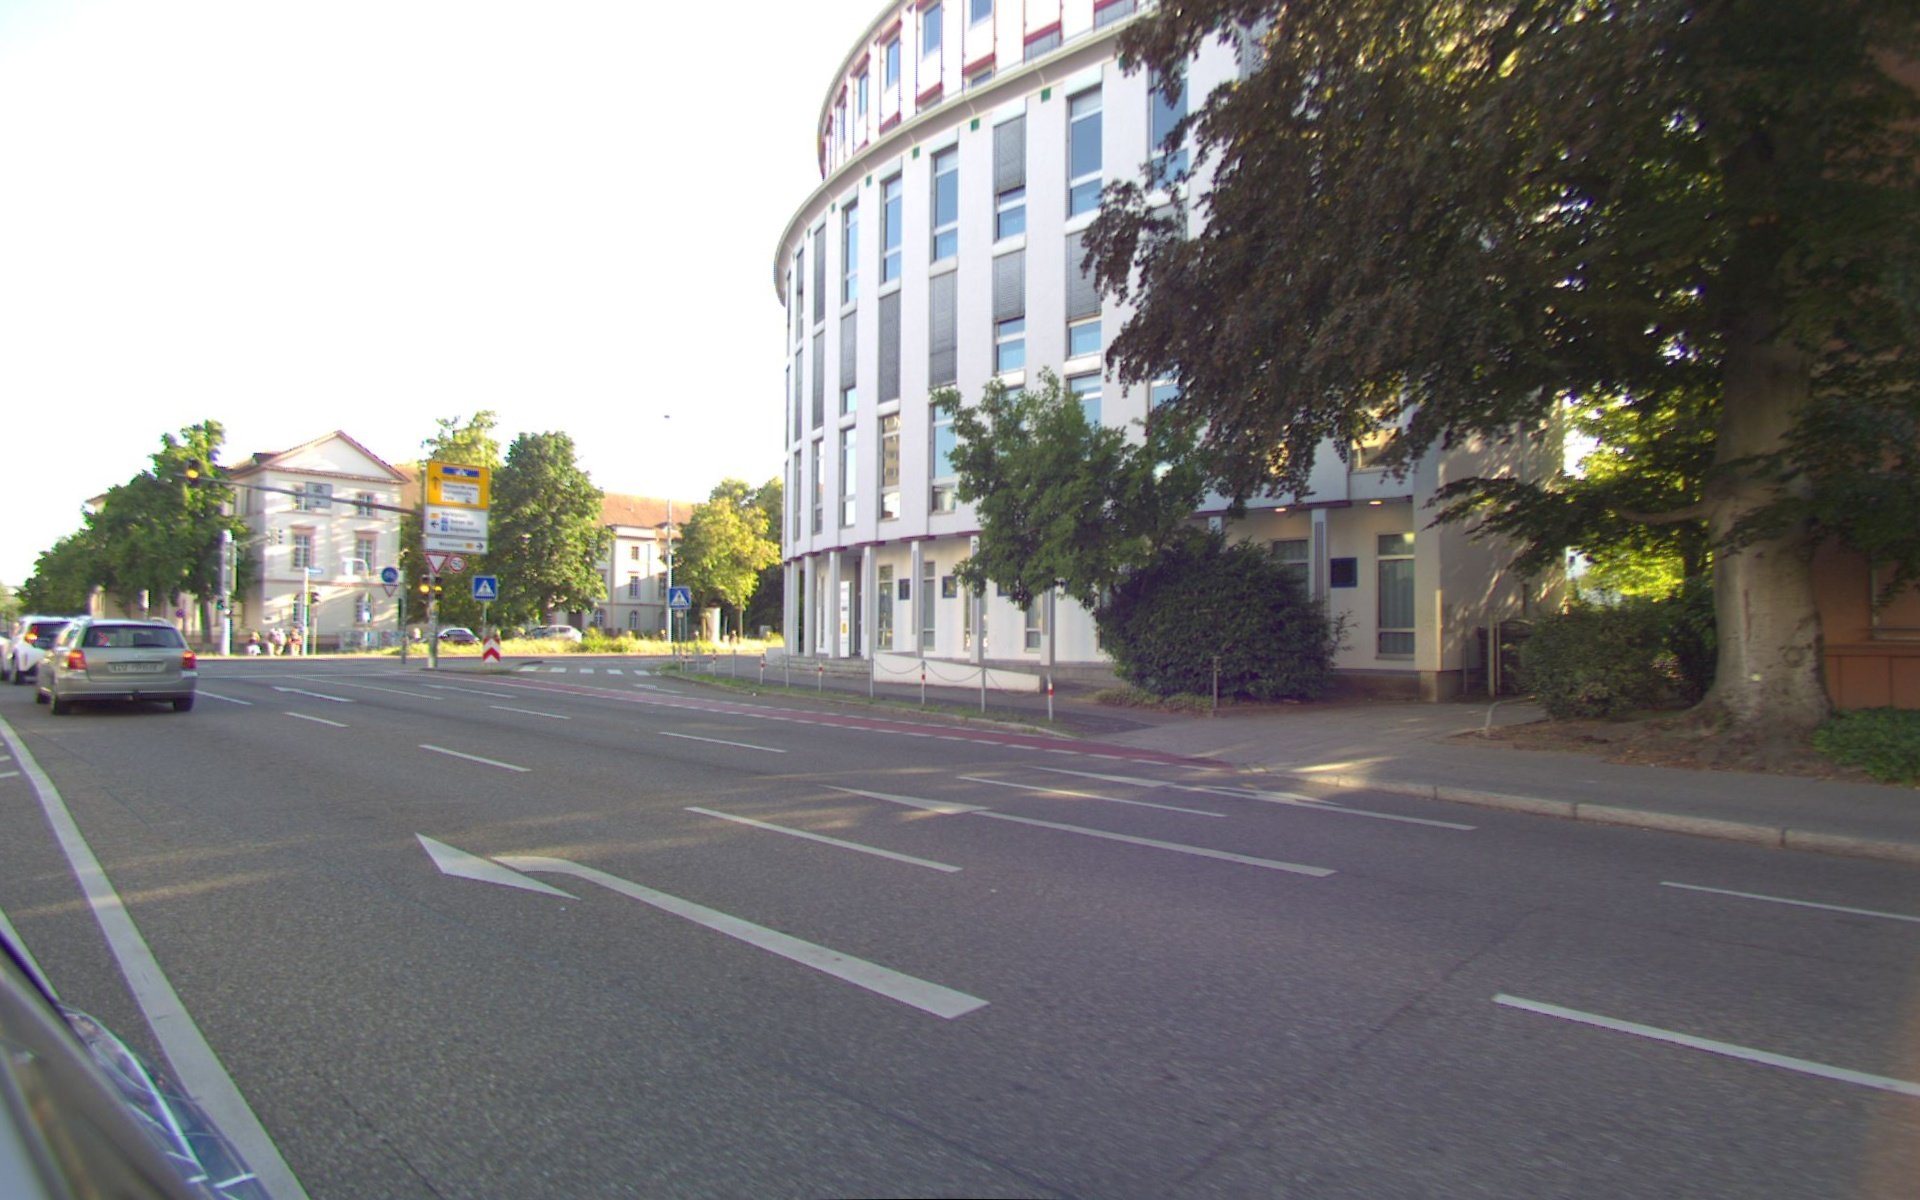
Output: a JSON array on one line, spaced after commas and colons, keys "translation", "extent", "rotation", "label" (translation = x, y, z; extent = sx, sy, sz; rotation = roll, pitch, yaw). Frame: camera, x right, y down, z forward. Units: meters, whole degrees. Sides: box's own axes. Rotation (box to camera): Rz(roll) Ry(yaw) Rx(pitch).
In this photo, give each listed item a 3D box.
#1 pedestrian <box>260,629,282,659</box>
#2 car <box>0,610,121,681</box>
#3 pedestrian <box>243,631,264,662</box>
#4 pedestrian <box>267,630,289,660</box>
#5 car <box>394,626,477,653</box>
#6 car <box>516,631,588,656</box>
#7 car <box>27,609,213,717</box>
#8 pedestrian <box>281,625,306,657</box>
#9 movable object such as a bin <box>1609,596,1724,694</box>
[{"translation": [-40.317, 2.566, 59.194], "extent": [1.081, 1.721, 0.671], "rotation": [-2, -3, 32], "label": "pedestrian"}, {"translation": [-20.614, 1.016, 22.955], "extent": [3.899, 1.472, 1.809], "rotation": [-2, -3, 41], "label": "car"}, {"translation": [-38.622, 2.542, 55.290], "extent": [0.887, 1.663, 0.614], "rotation": [-2, -3, 32], "label": "pedestrian"}, {"translation": [-37.923, 2.507, 56.292], "extent": [0.880, 1.663, 0.671], "rotation": [-2, -3, 32], "label": "pedestrian"}, {"translation": [-28.936, 2.173, 55.914], "extent": [1.996, 1.457, 3.602], "rotation": [-2, -3, 36], "label": "car"}, {"translation": [-24.990, 2.646, 62.036], "extent": [1.996, 1.457, 3.602], "rotation": [-2, -3, 36], "label": "car"}, {"translation": [-13.904, 0.982, 16.652], "extent": [4.605, 1.526, 1.807], "rotation": [-2, -3, 44], "label": "car"}, {"translation": [-39.528, 2.442, 60.053], "extent": [1.166, 1.863, 0.812], "rotation": [-2, -3, 32], "label": "pedestrian"}, {"translation": [12.748, 0.804, 18.257], "extent": [1.457, 1.664, 1.486], "rotation": [-2, -3, 44], "label": "movable object such as a bin"}]
